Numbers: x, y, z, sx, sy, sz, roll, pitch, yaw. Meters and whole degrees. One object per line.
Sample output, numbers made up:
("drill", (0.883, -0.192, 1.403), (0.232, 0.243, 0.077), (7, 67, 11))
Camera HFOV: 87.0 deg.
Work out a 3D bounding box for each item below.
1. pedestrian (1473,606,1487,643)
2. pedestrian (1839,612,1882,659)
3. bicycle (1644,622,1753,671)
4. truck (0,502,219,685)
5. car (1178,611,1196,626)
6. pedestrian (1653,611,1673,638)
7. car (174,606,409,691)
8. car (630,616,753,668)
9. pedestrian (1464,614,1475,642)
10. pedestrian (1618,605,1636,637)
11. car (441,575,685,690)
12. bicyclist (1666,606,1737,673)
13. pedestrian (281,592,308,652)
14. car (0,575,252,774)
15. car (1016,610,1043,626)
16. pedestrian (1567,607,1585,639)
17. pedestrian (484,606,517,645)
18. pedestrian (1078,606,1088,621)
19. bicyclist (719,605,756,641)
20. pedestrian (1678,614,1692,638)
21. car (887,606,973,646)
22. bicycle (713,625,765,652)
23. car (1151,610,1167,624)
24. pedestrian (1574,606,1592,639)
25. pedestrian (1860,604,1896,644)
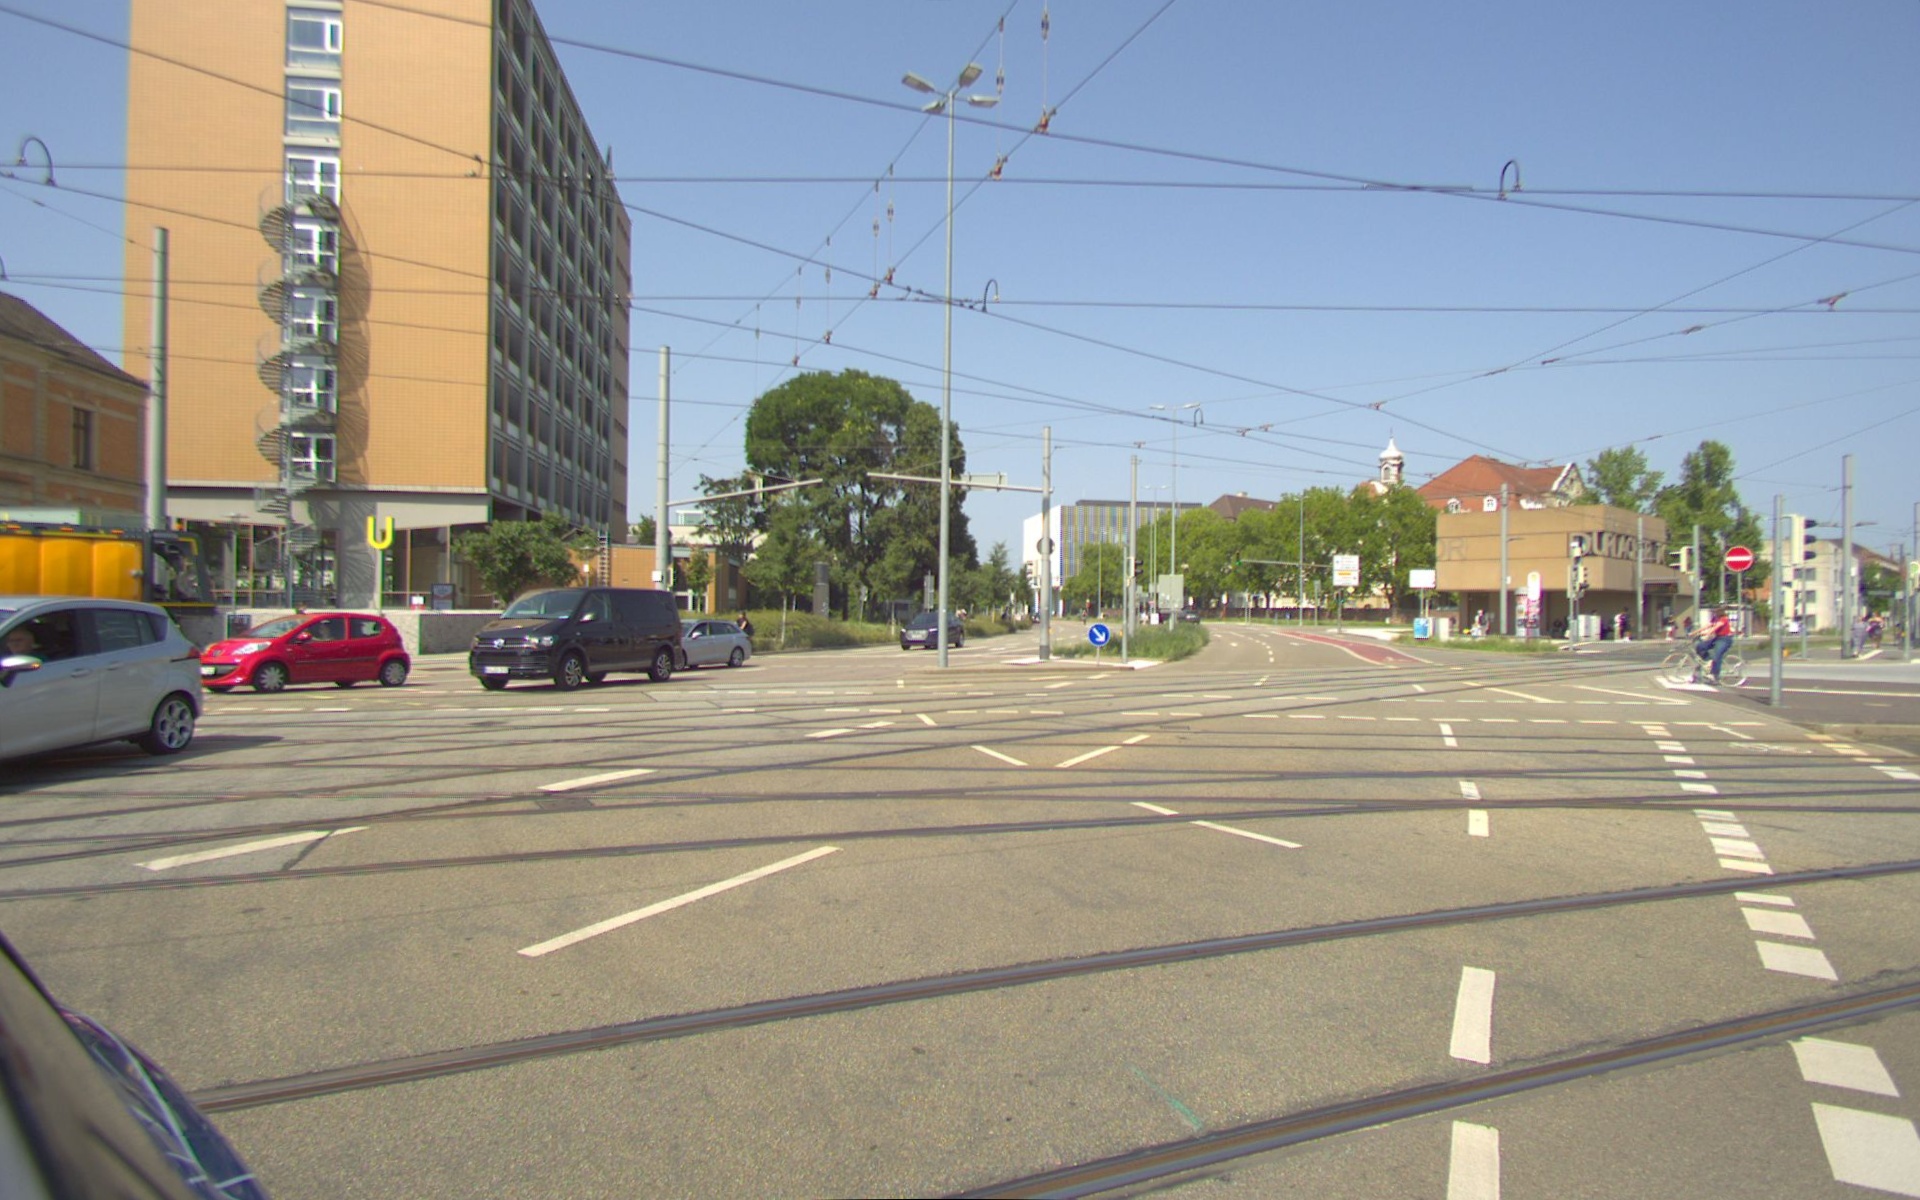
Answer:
("pedestrian", (25.810, 1.203, 50.267), (0.557, 1.830, 0.556), (0, -1, 23))
("pedestrian", (34.760, 1.357, 39.070), (0.948, 1.793, 0.784), (1, -1, 7))
("bicycle", (16.612, 1.033, 22.791), (1.891, 1.077, 0.613), (0, -1, 8))
("truck", (-18.399, -0.077, 18.742), (3.042, 3.253, 7.089), (-2, -1, 43))
("car", (25.261, 2.042, 112.734), (1.885, 1.665, 4.635), (0, -1, 14))
("pedestrian", (43.583, 1.518, 62.737), (0.842, 1.692, 0.797), (-1, -1, -39))
("car", (-12.189, 0.838, 18.658), (1.509, 1.419, 3.330), (-1, -1, 25))
("car", (-7.482, 1.143, 28.481), (1.509, 1.349, 3.479), (0, -1, 24))
("pedestrian", (25.162, 1.369, 50.014), (0.459, 1.385, 0.347), (0, -1, 24))
("pedestrian", (35.374, 1.095, 53.677), (0.564, 1.658, 0.511), (-2, -1, 7))
("car", (-7.541, 0.587, 19.851), (1.884, 1.945, 4.859), (0, -1, 16))
("bicyclist", (16.688, 0.876, 22.801), (0.969, 1.470, 0.875), (0, -1, 8))
("pedestrian", (-19.574, 0.654, 29.781), (0.558, 1.733, 0.452), (-2, -1, 31))
("car", (-8.629, 0.605, 8.996), (1.669, 1.607, 4.362), (0, 0, -1))
("car", (8.245, 2.160, 119.556), (1.987, 1.807, 3.969), (-2, -1, 23))
("pedestrian", (32.489, 1.206, 53.375), (0.578, 1.688, 0.579), (-1, -1, -39))
("pedestrian", (-16.667, 0.927, 36.728), (0.777, 1.405, 0.847), (0, -1, 6))
("pedestrian", (14.658, 1.612, 120.312), (0.961, 1.798, 1.109), (0, -1, 20))
("bicyclist", (-8.156, 0.835, 37.112), (0.853, 1.275, 1.096), (0, -1, 27))
("pedestrian", (45.920, 1.624, 64.127), (0.556, 1.511, 0.551), (-1, -1, -39))
("car", (-1.257, 1.098, 44.981), (1.988, 1.653, 4.660), (0, 0, 24))
("bicycle", (-8.067, 1.393, 37.053), (0.638, 0.906, 2.150), (0, -1, 27))
("car", (23.375, 1.982, 118.877), (1.664, 1.532, 3.687), (0, -1, 15))
("pedestrian", (33.122, 1.195, 53.811), (0.578, 1.688, 0.579), (-1, -1, -39))
("pedestrian", (41.981, 1.105, 46.290), (0.777, 1.793, 0.956), (1, -1, 10))
